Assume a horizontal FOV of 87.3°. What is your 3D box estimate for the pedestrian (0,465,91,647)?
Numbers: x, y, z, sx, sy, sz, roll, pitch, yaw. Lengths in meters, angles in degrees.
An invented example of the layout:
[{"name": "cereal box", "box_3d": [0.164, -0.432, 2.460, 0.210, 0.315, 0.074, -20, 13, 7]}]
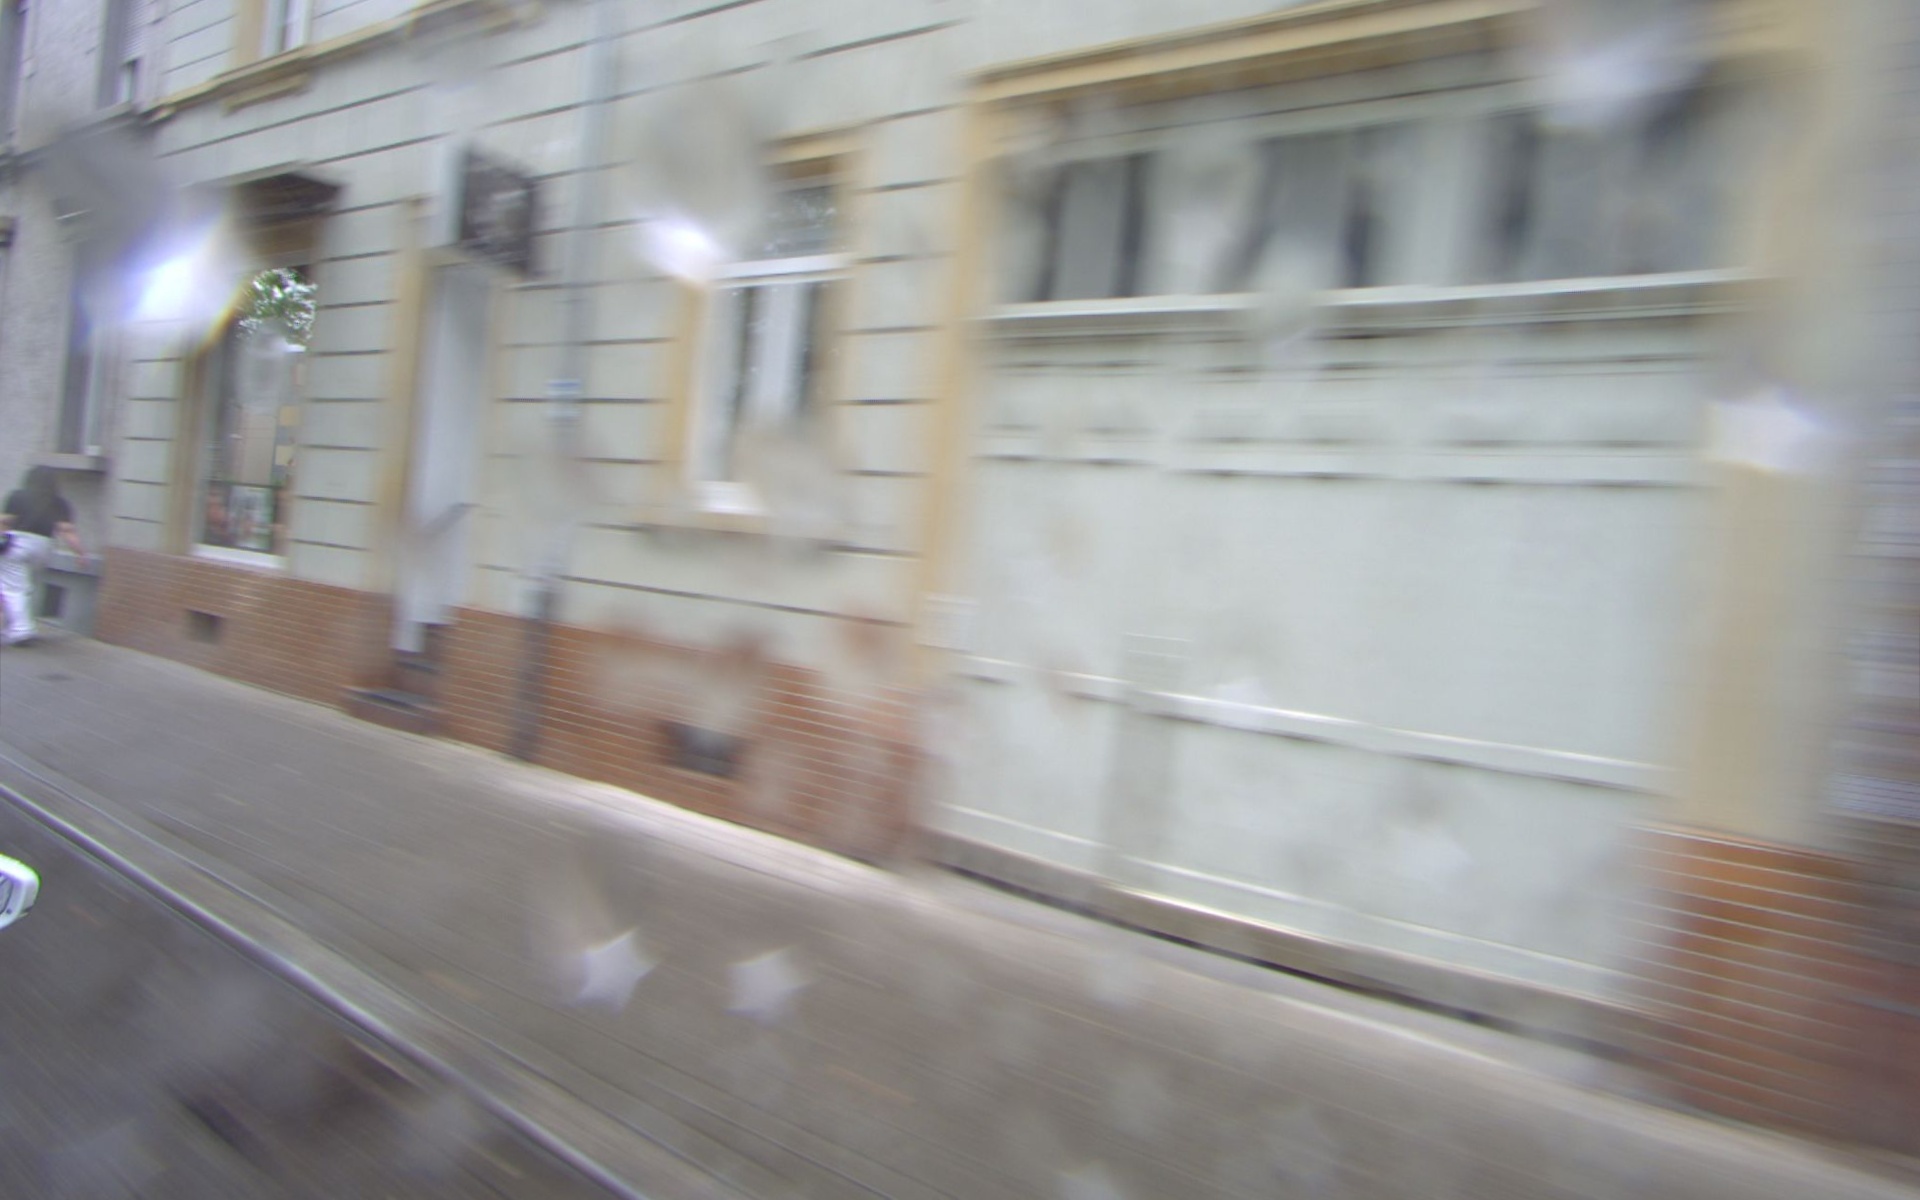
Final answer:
[{"name": "pedestrian", "box_3d": [-8.443, -0.420, 8.872, 1.089, 1.532, 0.840, 7, 4, 31]}]
